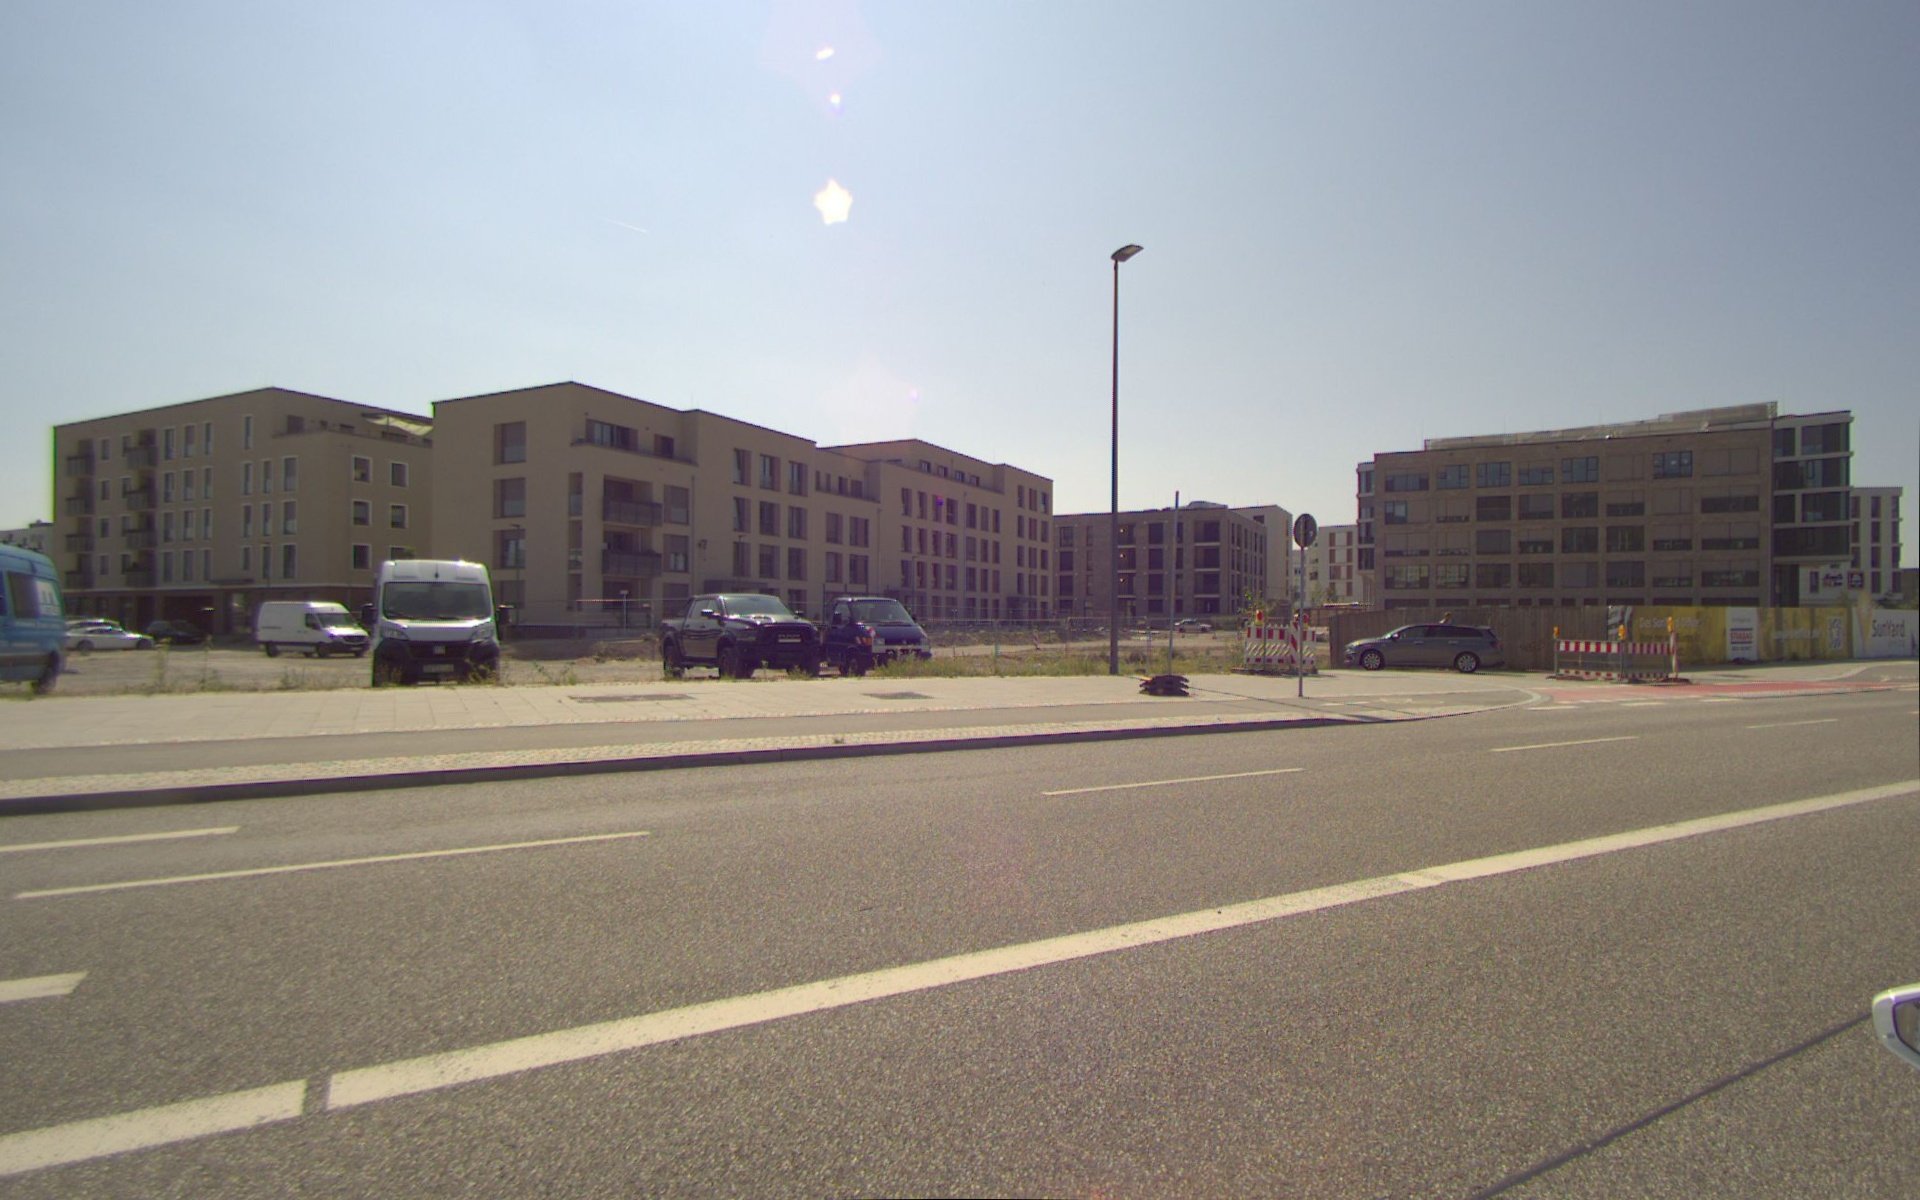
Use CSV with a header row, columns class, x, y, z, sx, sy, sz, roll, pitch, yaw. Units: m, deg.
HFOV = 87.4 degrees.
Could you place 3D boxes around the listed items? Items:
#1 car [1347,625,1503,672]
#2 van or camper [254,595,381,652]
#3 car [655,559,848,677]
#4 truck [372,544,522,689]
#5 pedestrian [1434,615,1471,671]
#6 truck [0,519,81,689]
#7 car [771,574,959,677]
class,x,y,z,sx,sy,sz,roll,pitch,yaw
car,14.135,1.443,30.684,4.167,1.335,1.998,0,-1,25
van or camper,-30.475,1.107,47.647,5.812,2.593,1.936,0,-1,20
car,-4.974,0.592,23.156,2.370,2.192,5.852,5,-7,-32
truck,-10.178,0.338,19.656,2.249,2.394,5.539,1,-1,-31
pedestrian,15.479,1.335,31.578,0.742,1.706,0.686,2,0,-7
truck,-16.579,0.081,16.429,2.249,2.577,5.974,1,-1,-31
car,-2.479,0.613,24.593,2.370,2.202,5.412,1,-1,-33
